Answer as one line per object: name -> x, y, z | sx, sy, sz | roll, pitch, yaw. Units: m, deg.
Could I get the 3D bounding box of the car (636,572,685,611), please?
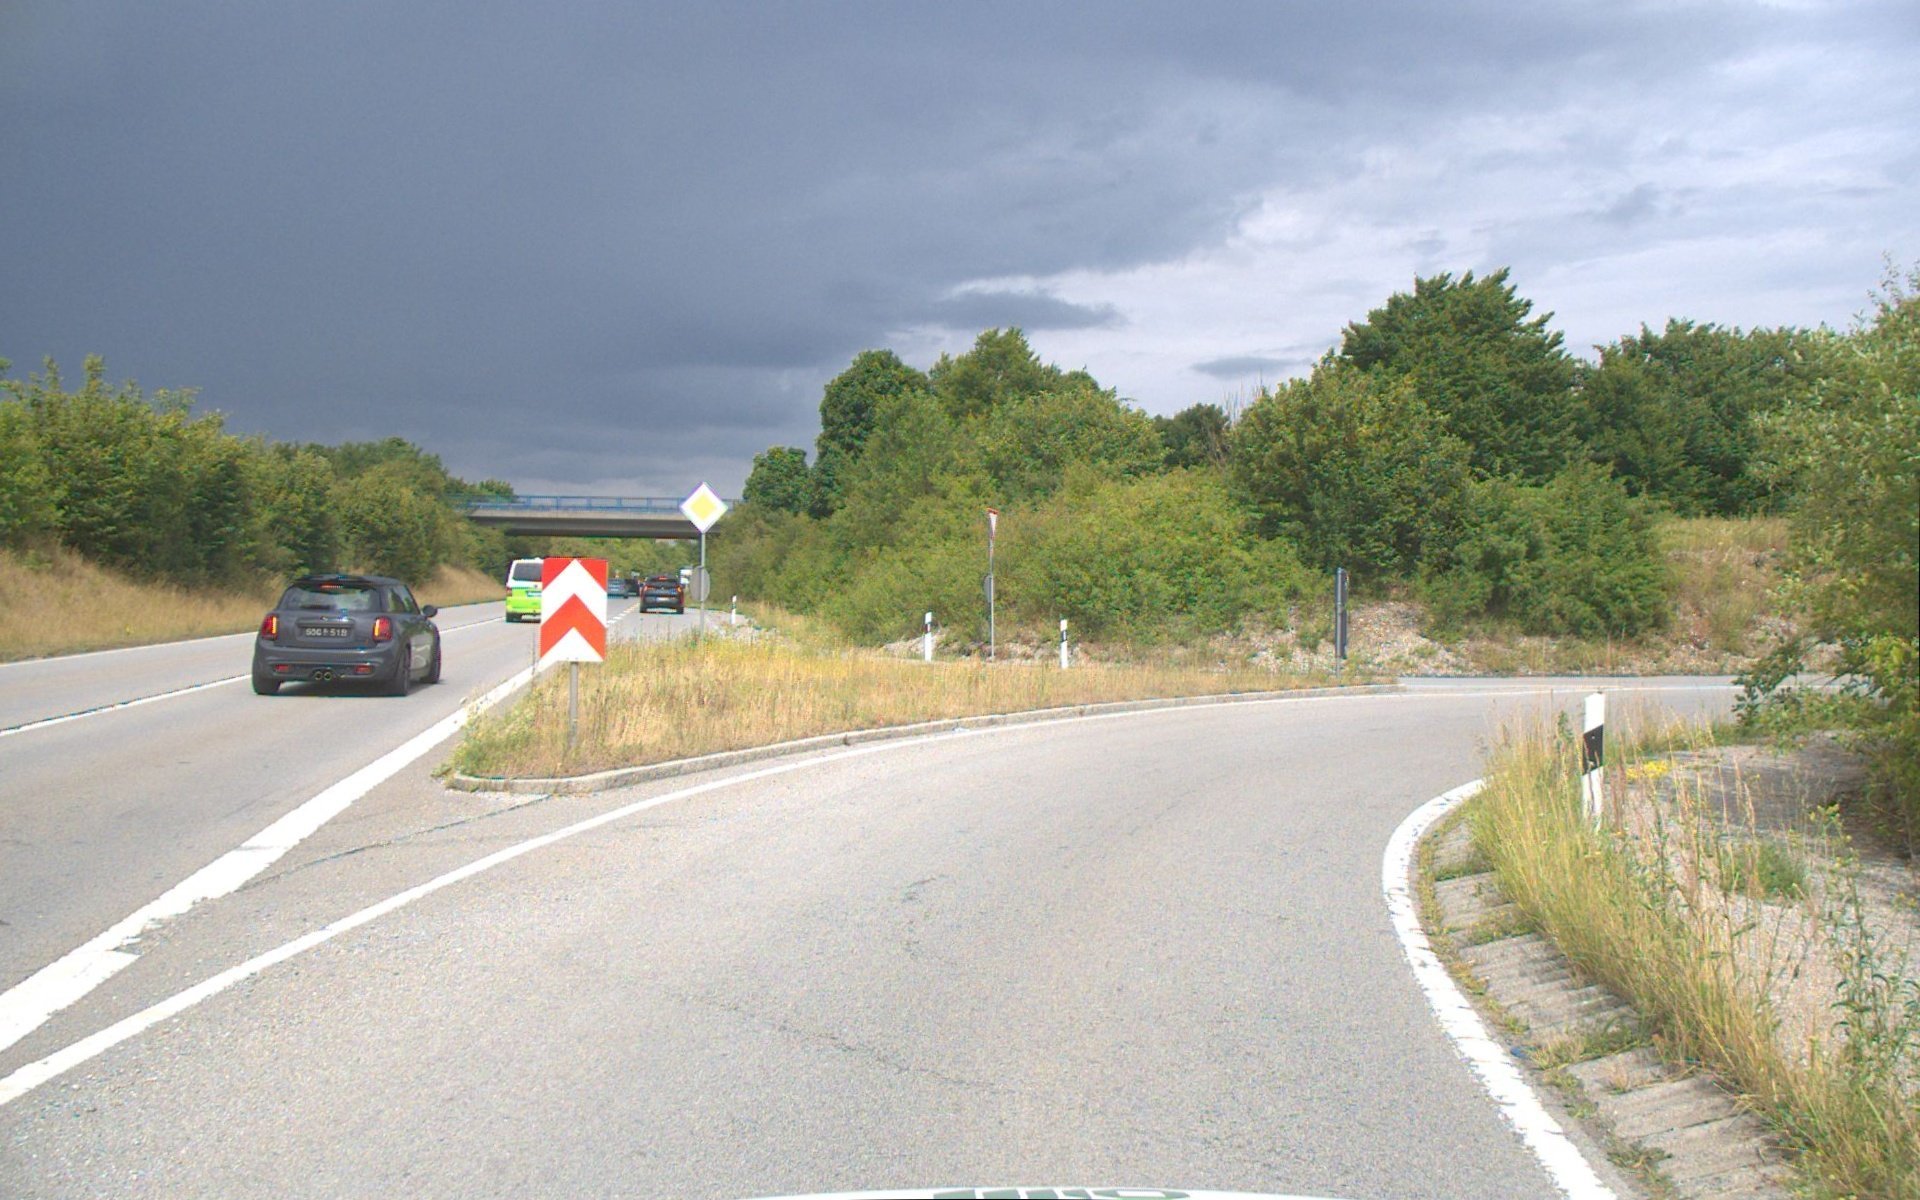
car -> -13.272, -0.397, 73.152 | 1.958, 1.579, 3.988 | 2, 0, -12

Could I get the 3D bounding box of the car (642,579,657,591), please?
car -> -38.308, -1.842, 204.283 | 1.636, 1.427, 3.993 | 2, 1, -8

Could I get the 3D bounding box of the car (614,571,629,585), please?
car -> -50.931, -3.291, 248.829 | 1.956, 2.049, 3.993 | 1, 1, -8

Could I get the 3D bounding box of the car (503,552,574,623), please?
car -> -13.412, -0.408, 52.807 | 1.786, 2.090, 3.991 | 2, 0, -10

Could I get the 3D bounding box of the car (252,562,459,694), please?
car -> -7.520, 0.299, 20.944 | 1.725, 1.452, 3.991 | 2, 0, -10

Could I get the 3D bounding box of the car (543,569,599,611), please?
car -> -15.876, -0.432, 67.645 | 1.957, 1.579, 3.991 | 2, 0, -10

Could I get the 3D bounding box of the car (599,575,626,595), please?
car -> -25.148, -1.100, 119.734 | 1.636, 1.427, 3.993 | 2, 1, -8

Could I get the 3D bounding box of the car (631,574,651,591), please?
car -> -28.894, -1.586, 149.984 | 1.637, 1.427, 3.991 | 2, 1, -10
